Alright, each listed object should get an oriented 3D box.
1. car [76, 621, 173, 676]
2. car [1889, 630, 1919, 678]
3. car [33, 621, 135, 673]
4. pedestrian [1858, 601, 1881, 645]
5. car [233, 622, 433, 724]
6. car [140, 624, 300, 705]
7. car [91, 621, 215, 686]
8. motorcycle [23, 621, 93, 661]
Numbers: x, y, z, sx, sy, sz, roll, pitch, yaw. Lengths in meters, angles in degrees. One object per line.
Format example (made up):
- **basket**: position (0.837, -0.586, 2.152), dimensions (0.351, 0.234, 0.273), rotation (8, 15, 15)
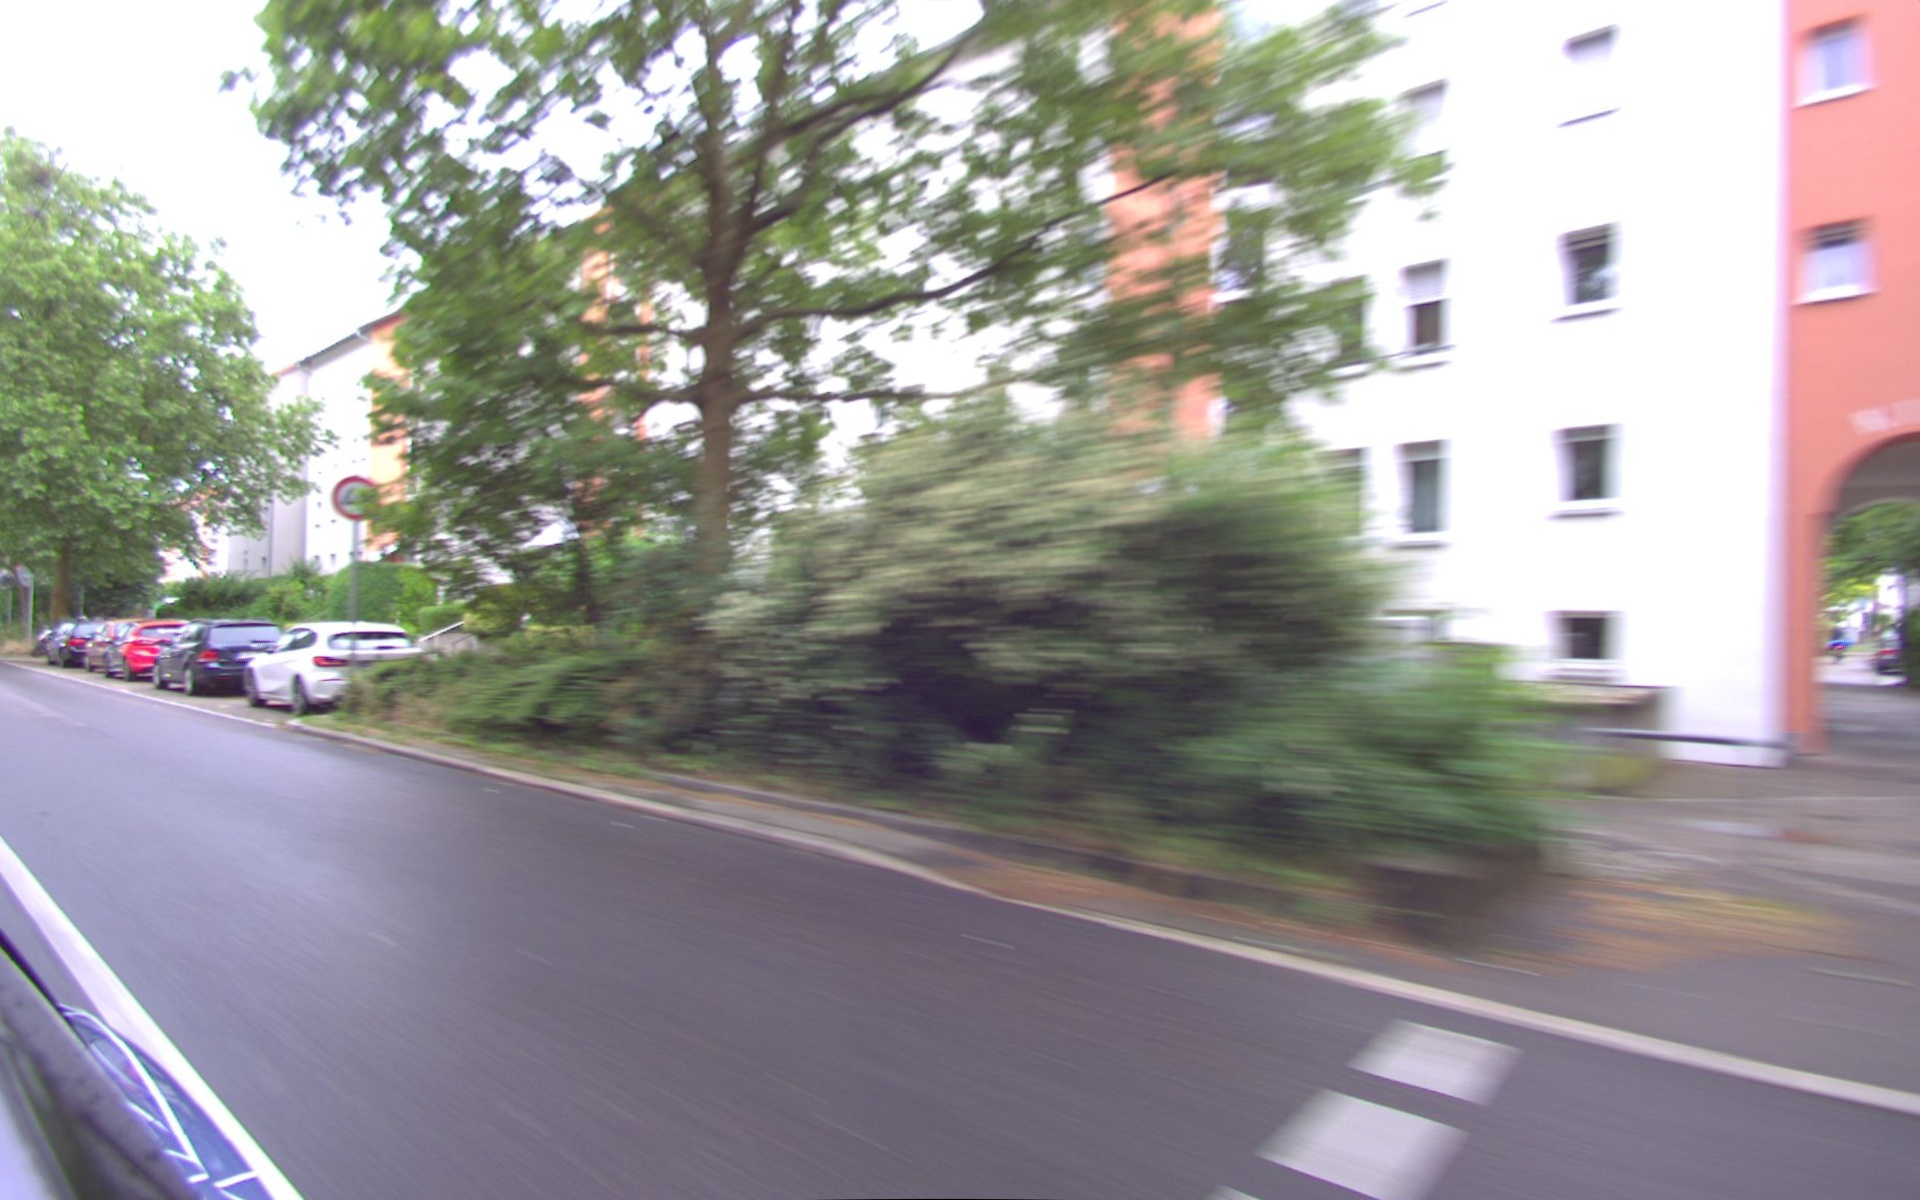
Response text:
- **car**: position (-23.921, 1.332, 28.931), dimensions (3.394, 1.478, 1.540), rotation (-1, -2, 40)
- **car**: position (35.702, 2.023, 37.541), dimensions (1.800, 1.710, 3.943), rotation (-2, -3, 42)
- **car**: position (-28.053, 1.446, 32.363), dimensions (4.800, 1.521, 1.699), rotation (-1, -1, 40)
- **pedestrian**: position (39.279, 1.015, 43.708), dimensions (0.654, 1.882, 0.700), rotation (-2, -4, 44)
- **car**: position (-10.480, 1.102, 16.787), dimensions (4.308, 1.478, 1.698), rotation (-1, -2, 42)
- **car**: position (-15.269, 1.243, 20.810), dimensions (4.230, 1.478, 1.699), rotation (-1, -1, 40)
- **car**: position (-20.196, 1.279, 25.276), dimensions (3.753, 1.478, 1.699), rotation (-1, -1, 40)
- **motorcycle**: position (-31.837, 1.456, 35.735), dimensions (0.722, 1.350, 1.695), rotation (-1, -3, 41)
